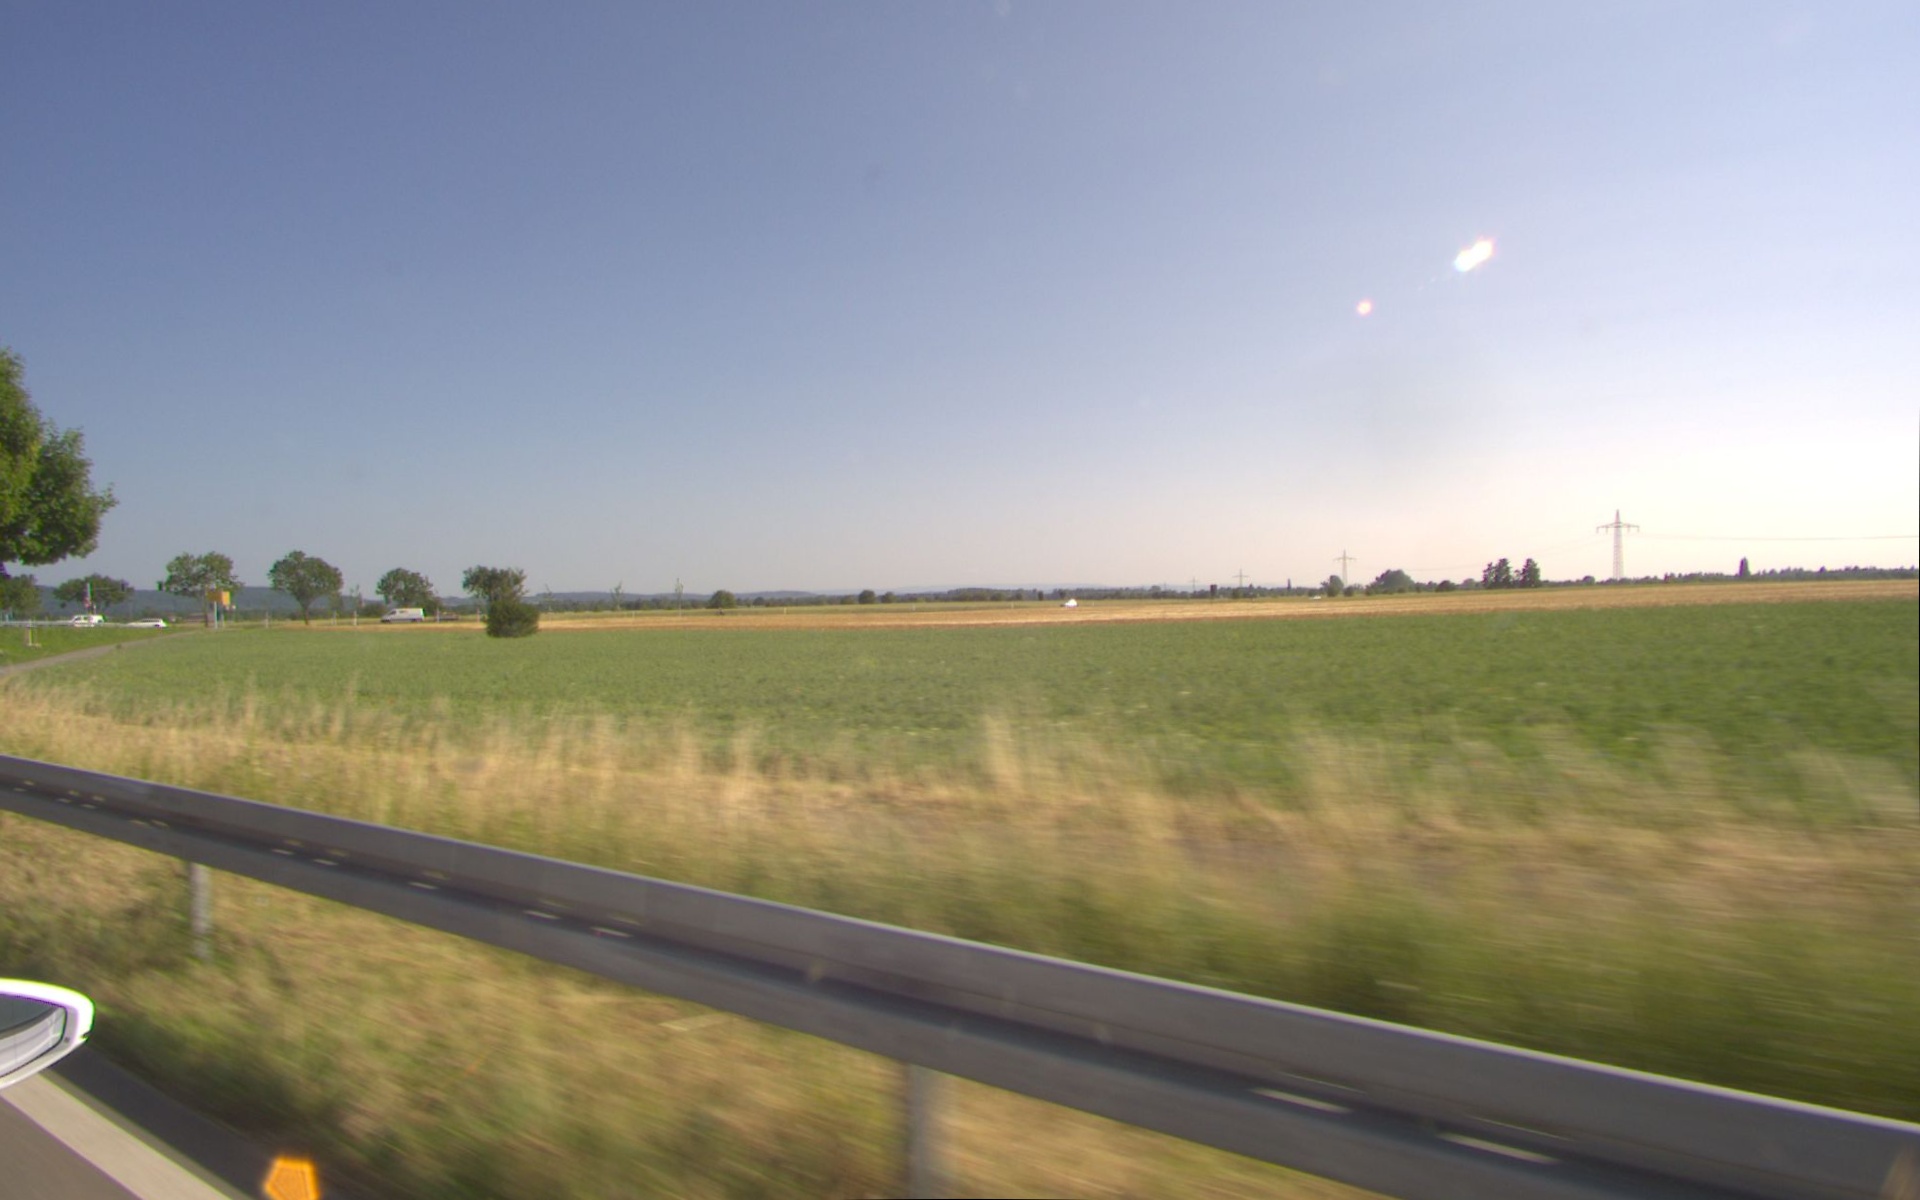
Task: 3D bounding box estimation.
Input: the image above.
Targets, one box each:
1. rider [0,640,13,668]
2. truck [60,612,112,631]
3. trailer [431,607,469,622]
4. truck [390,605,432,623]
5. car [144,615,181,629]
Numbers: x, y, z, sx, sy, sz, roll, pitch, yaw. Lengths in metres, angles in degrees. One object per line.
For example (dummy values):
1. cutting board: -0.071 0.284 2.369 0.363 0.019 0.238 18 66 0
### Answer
1. rider: -52.892 2.971 55.311 0.603 1.546 1.813 0 -2 -36
2. truck: -120.100 2.987 137.628 1.969 2.561 5.049 -1 -2 27
3. trailer: -81.134 2.327 159.384 5.376 2.384 3.344 0 -2 -26
4. truck: -86.055 2.186 156.983 5.511 2.729 3.283 0 -2 -26
5. car: -115.561 3.230 145.160 1.979 2.039 3.966 -2 -2 42
